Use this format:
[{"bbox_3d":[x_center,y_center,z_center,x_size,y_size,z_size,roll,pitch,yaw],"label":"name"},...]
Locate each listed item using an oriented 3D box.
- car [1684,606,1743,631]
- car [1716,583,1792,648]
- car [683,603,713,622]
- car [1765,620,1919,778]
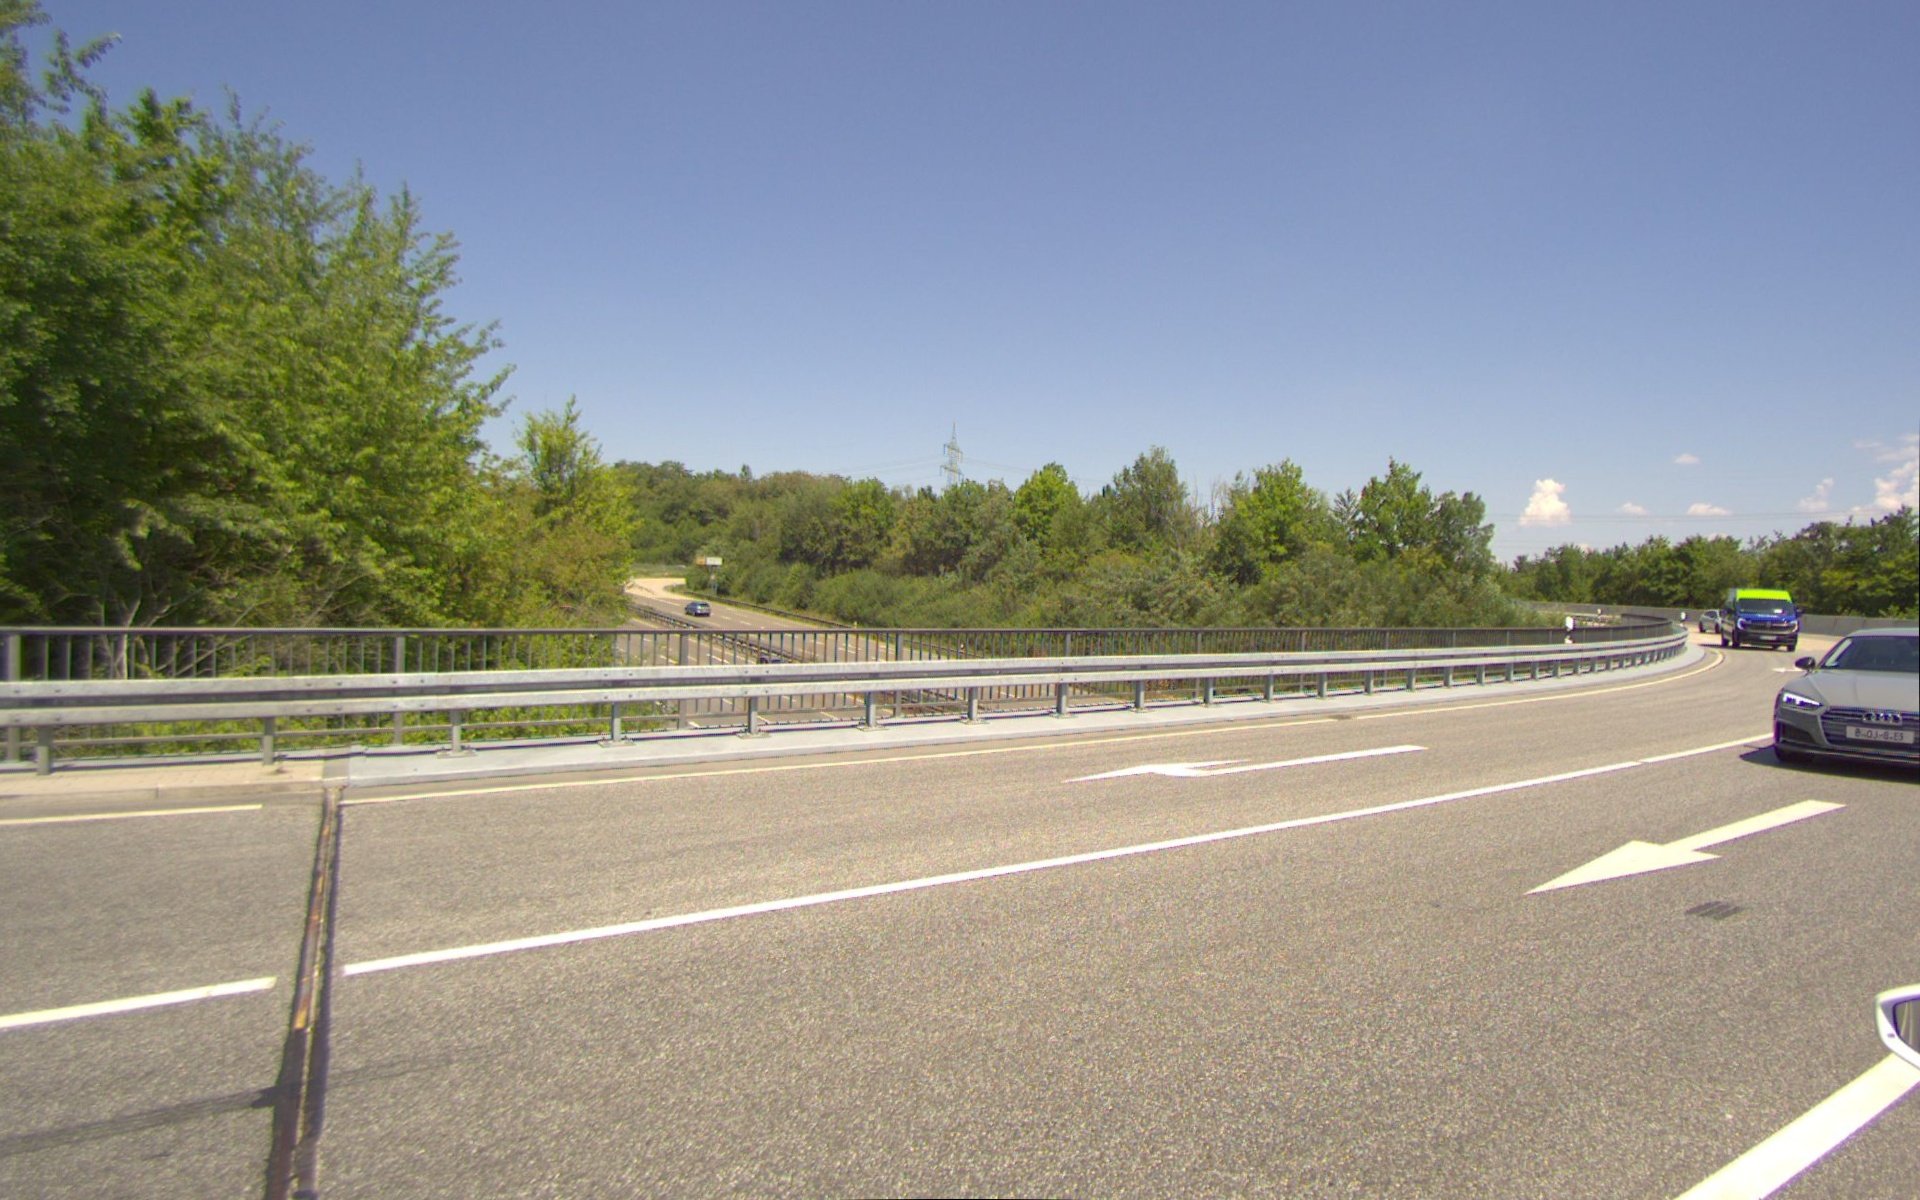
[{"bbox_3d":[45.679,1.139,60.989,1.714,1.478,4.366,0,-1,21],"label":"car"},{"bbox_3d":[33.164,0.593,42.099,1.966,2.517,5.465,-1,0,33],"label":"car"},{"bbox_3d":[-28.401,1.332,108.836,1.980,1.617,3.960,0,5,-34],"label":"car"},{"bbox_3d":[10.160,0.938,10.613,4.246,1.403,1.764,1,0,-40],"label":"car"}]
